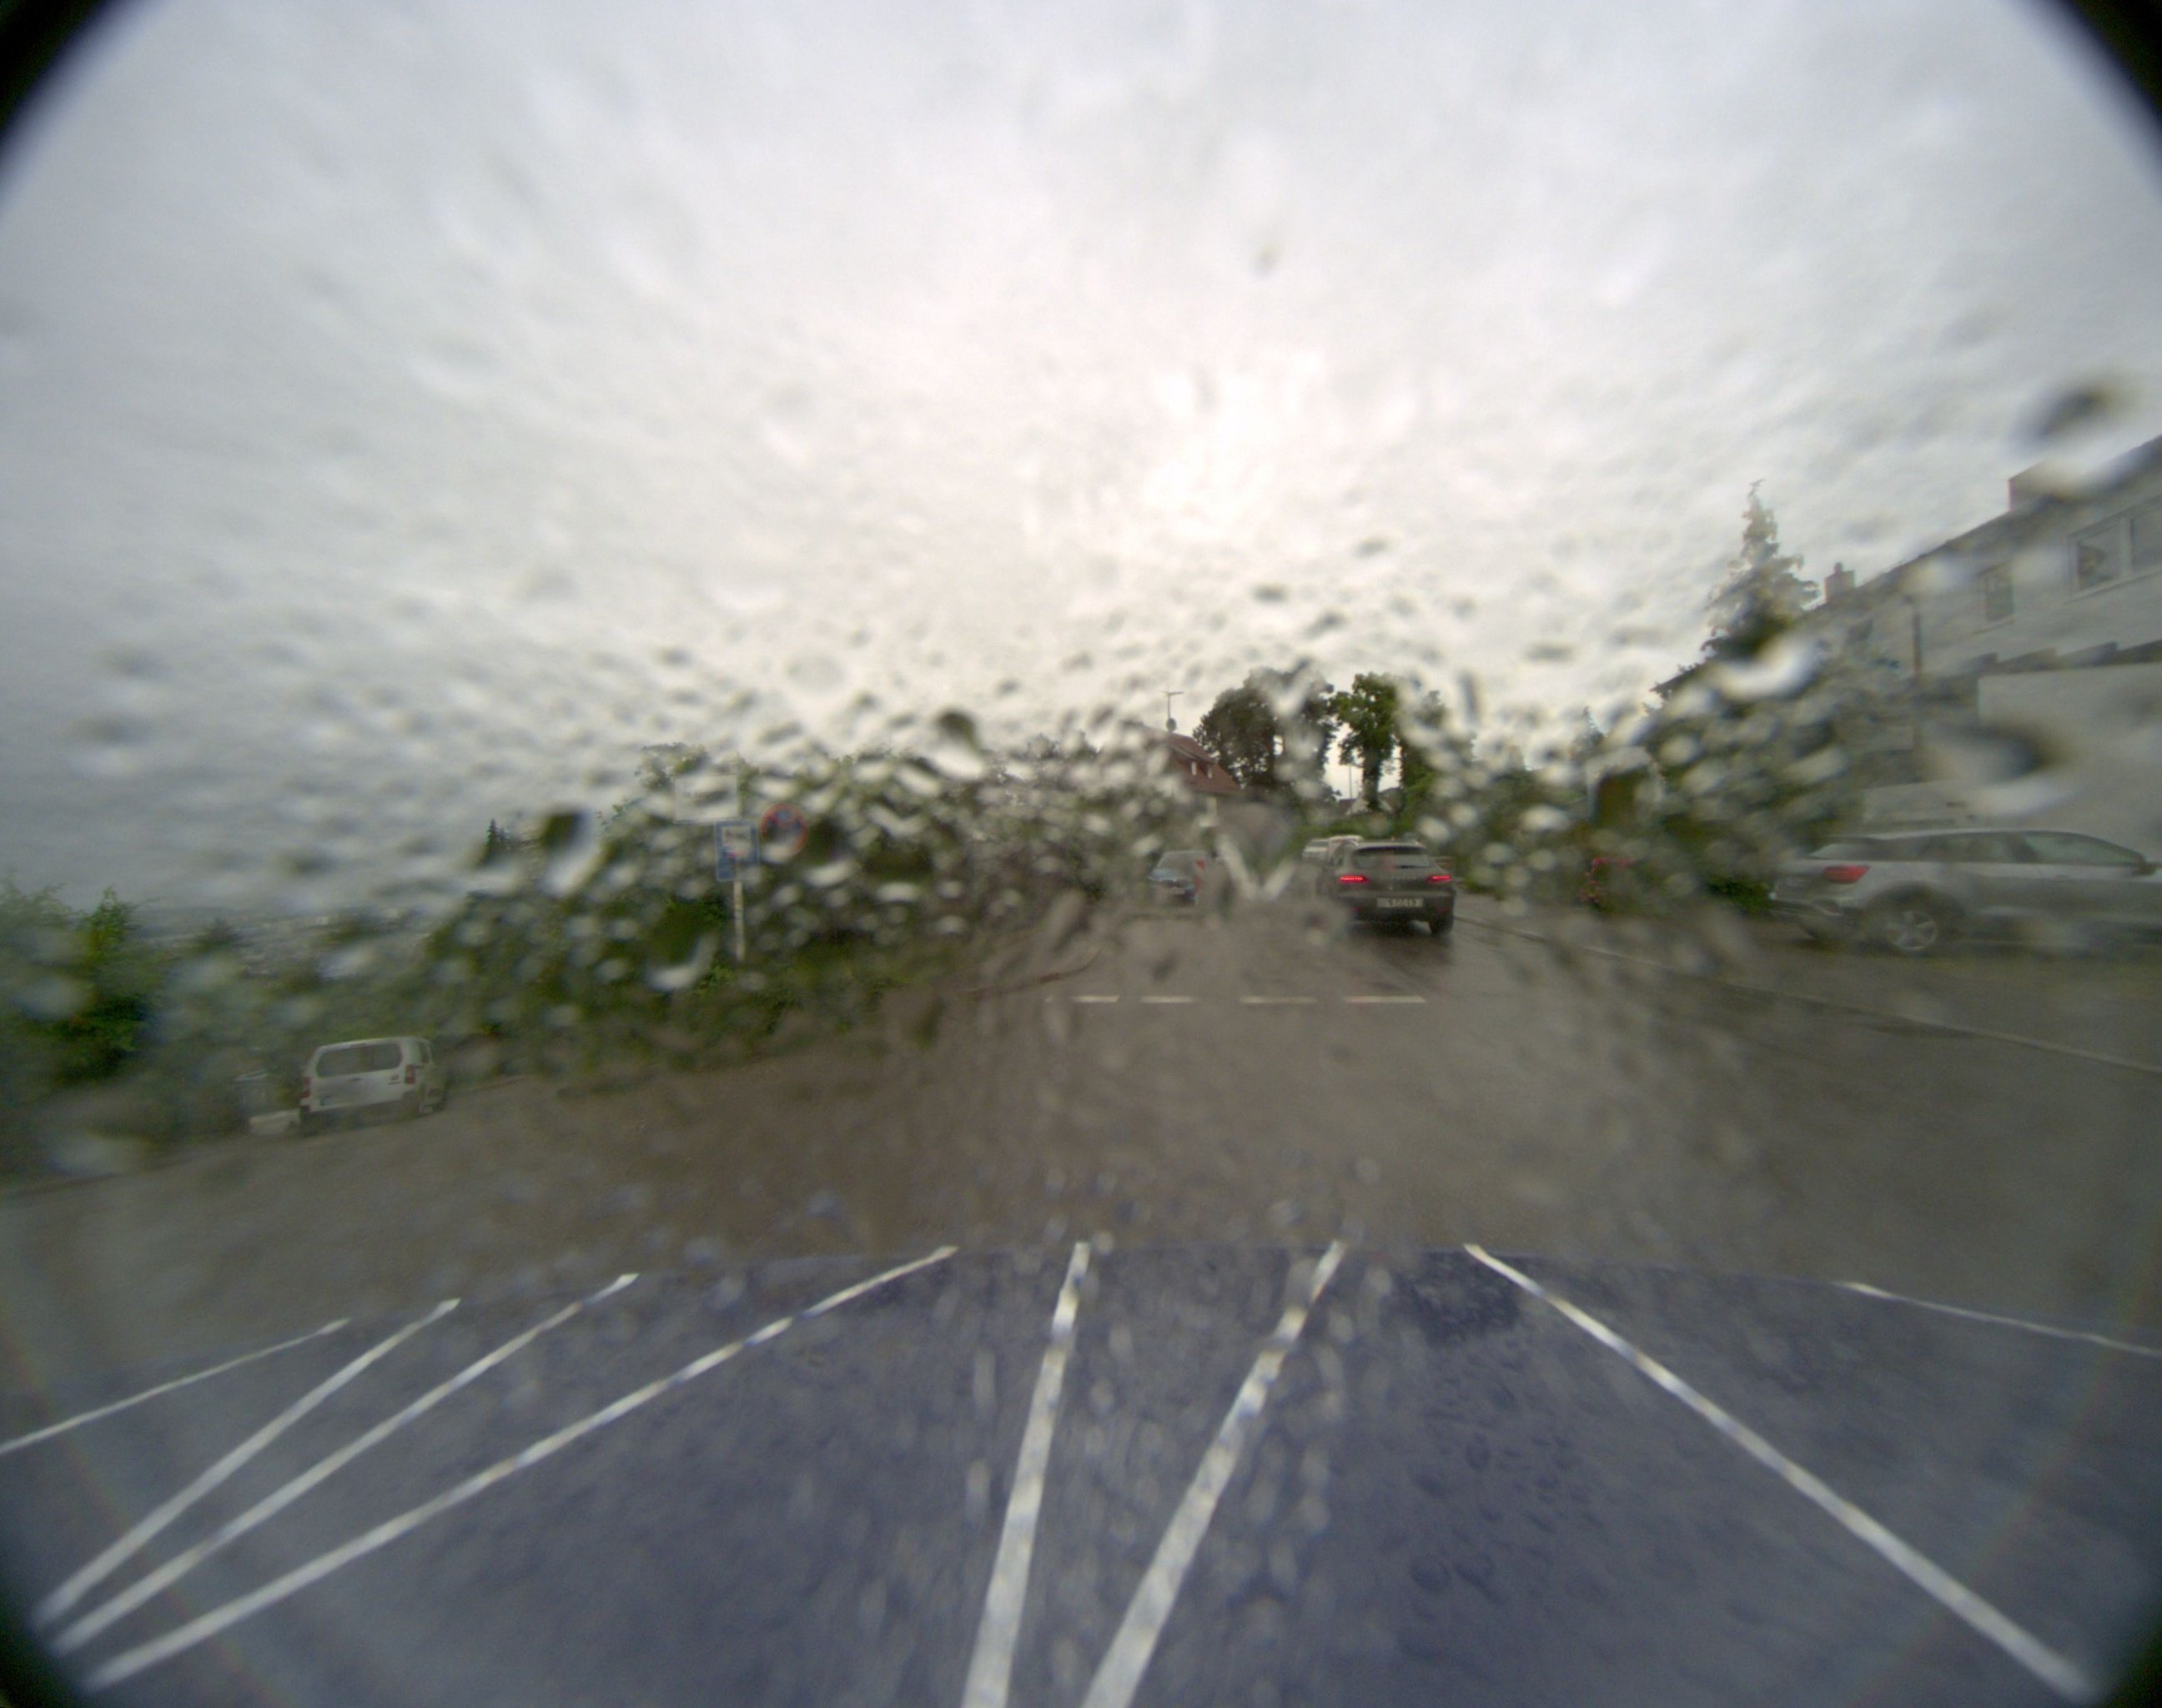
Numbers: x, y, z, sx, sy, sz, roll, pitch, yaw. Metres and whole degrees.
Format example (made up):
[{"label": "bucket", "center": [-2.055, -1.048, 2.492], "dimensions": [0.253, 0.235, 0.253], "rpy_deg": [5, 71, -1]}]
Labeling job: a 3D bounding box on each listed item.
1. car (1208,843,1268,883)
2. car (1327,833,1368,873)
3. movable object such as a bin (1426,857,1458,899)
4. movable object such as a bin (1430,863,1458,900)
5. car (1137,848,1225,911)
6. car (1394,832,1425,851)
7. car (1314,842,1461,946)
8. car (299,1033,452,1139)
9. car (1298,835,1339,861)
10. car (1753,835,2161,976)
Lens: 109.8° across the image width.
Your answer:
[{"label": "car", "center": [6.980, 0.350, 33.463], "dimensions": [1.903, 1.532, 4.221], "rpy_deg": [-2, 1, 20]}, {"label": "car", "center": [13.209, -0.098, 37.863], "dimensions": [1.779, 1.854, 4.220], "rpy_deg": [-1, 1, 17]}, {"label": "movable object such as a bin", "center": [9.537, 0.635, 20.084], "dimensions": [0.692, 1.085, 0.421], "rpy_deg": [0, 1, 18]}, {"label": "movable object such as a bin", "center": [9.379, 0.710, 19.638], "dimensions": [0.579, 0.934, 0.504], "rpy_deg": [0, 1, 18]}, {"label": "car", "center": [2.849, 0.636, 20.929], "dimensions": [1.798, 1.460, 4.220], "rpy_deg": [-2, 1, 15]}, {"label": "car", "center": [30.415, -1.169, 70.342], "dimensions": [1.661, 1.630, 4.223], "rpy_deg": [-2, 1, 36]}, {"label": "car", "center": [5.418, 0.614, 13.979], "dimensions": [1.791, 1.585, 4.219], "rpy_deg": [-2, 1, 12]}, {"label": "car", "center": [-15.487, 5.059, 16.901], "dimensions": [1.757, 1.728, 3.998], "rpy_deg": [-3, -11, -32]}, {"label": "car", "center": [15.953, -0.414, 50.841], "dimensions": [1.662, 1.630, 4.223], "rpy_deg": [-2, 1, 30]}, {"label": "car", "center": [10.839, 0.521, 8.954], "dimensions": [3.991, 1.432, 1.771], "rpy_deg": [0, 2, 21]}]
